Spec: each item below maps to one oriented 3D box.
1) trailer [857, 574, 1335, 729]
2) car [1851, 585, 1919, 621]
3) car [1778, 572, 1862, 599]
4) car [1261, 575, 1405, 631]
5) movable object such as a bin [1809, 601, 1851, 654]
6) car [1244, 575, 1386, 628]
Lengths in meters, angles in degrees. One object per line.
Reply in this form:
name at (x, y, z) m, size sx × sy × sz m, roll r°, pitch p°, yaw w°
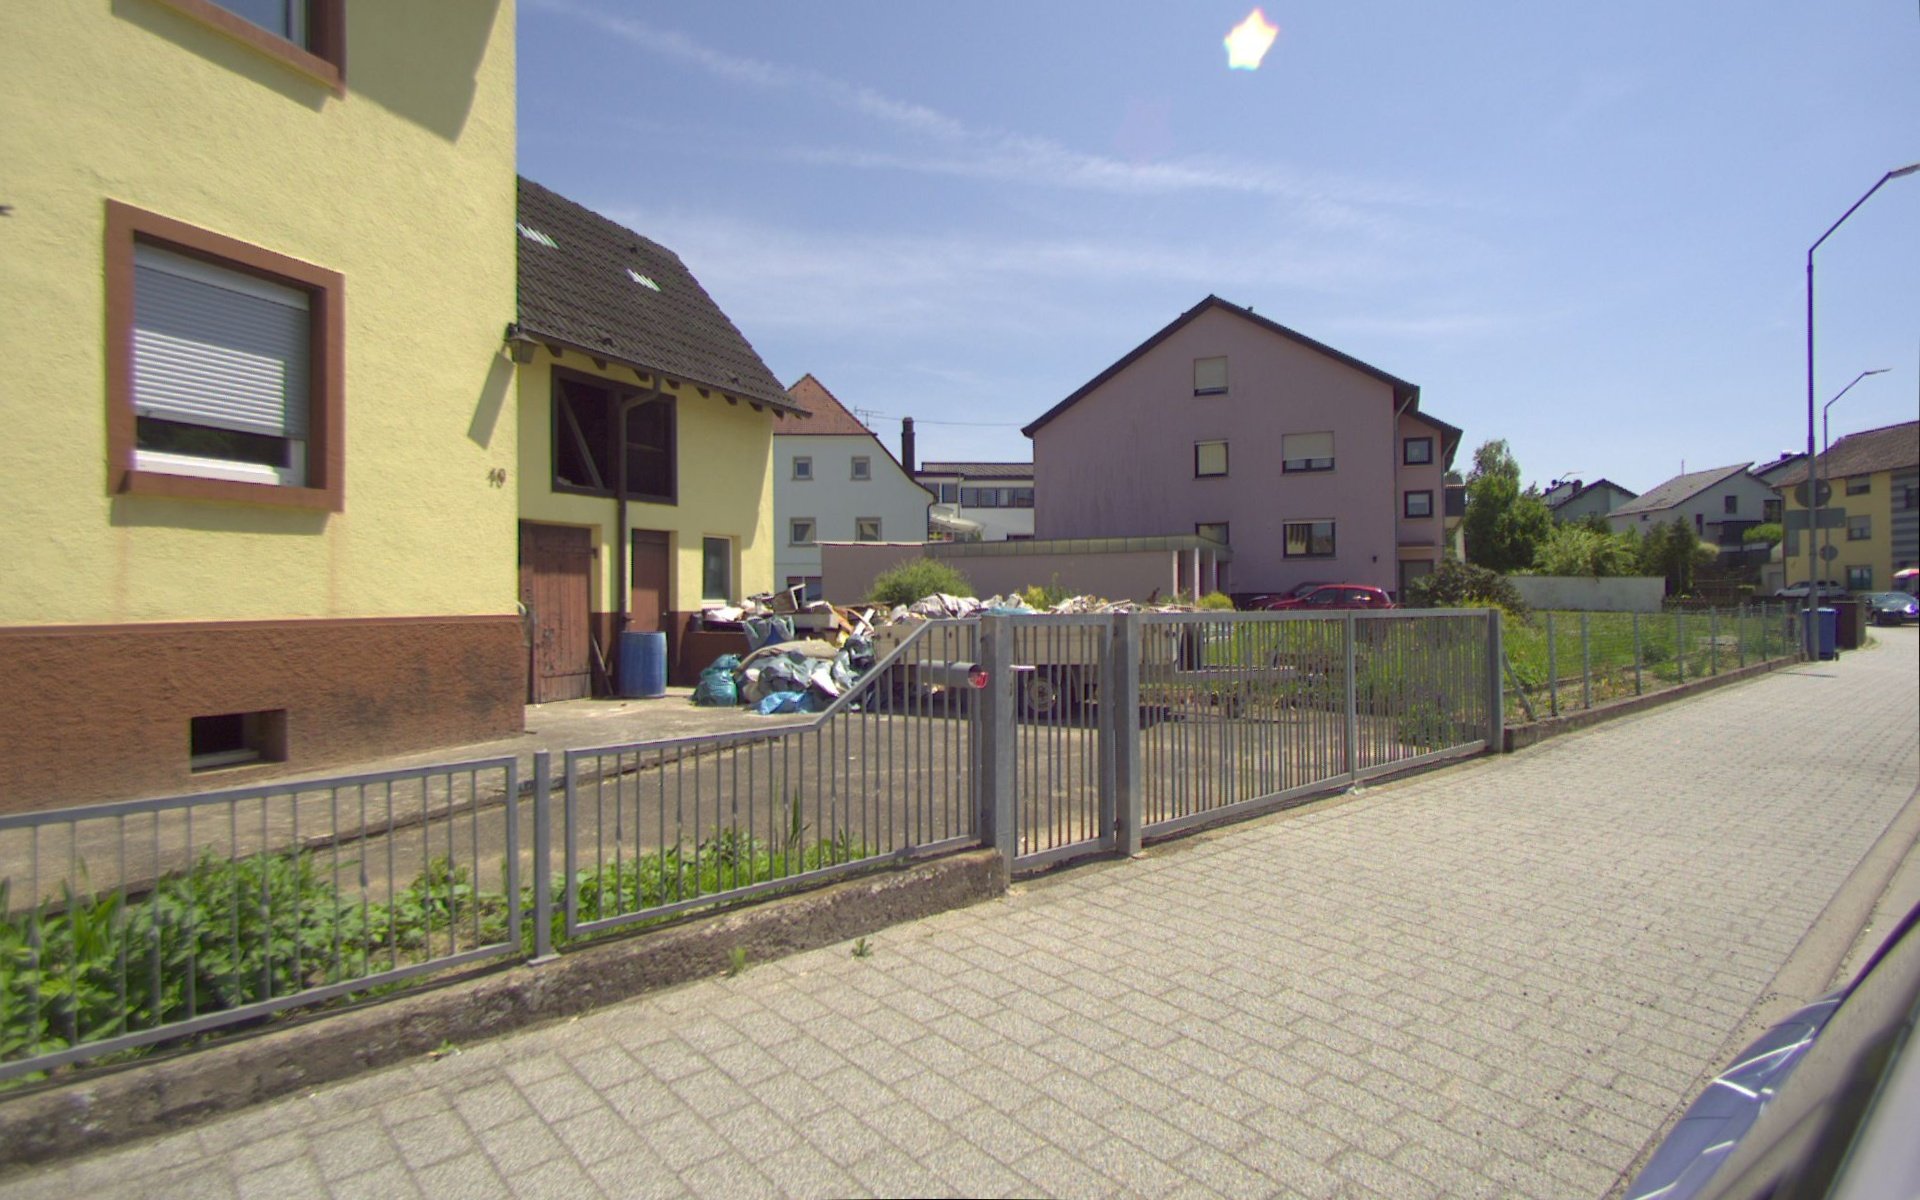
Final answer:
trailer at (1.625, 0.575, 12.111) m, size 5.297 × 1.566 × 2.124 m, roll -2°, pitch 0°, yaw 20°
car at (38.378, 0.099, 41.358) m, size 1.878 × 1.394 × 3.964 m, roll -3°, pitch -1°, yaw 26°
car at (52.075, -0.873, 61.374) m, size 1.705 × 1.571 × 4.183 m, roll -1°, pitch 0°, yaw 5°
car at (10.804, 0.049, 29.324) m, size 3.798 × 1.504 × 1.746 m, roll 1°, pitch 1°, yaw 26°
movable object such as a bin at (17.994, 0.555, 20.948) m, size 0.562 × 1.071 × 0.643 m, roll -1°, pitch 0°, yaw 33°
car at (11.162, 0.055, 31.912) m, size 4.076 × 1.567 × 1.837 m, roll -1°, pitch 0°, yaw 22°
